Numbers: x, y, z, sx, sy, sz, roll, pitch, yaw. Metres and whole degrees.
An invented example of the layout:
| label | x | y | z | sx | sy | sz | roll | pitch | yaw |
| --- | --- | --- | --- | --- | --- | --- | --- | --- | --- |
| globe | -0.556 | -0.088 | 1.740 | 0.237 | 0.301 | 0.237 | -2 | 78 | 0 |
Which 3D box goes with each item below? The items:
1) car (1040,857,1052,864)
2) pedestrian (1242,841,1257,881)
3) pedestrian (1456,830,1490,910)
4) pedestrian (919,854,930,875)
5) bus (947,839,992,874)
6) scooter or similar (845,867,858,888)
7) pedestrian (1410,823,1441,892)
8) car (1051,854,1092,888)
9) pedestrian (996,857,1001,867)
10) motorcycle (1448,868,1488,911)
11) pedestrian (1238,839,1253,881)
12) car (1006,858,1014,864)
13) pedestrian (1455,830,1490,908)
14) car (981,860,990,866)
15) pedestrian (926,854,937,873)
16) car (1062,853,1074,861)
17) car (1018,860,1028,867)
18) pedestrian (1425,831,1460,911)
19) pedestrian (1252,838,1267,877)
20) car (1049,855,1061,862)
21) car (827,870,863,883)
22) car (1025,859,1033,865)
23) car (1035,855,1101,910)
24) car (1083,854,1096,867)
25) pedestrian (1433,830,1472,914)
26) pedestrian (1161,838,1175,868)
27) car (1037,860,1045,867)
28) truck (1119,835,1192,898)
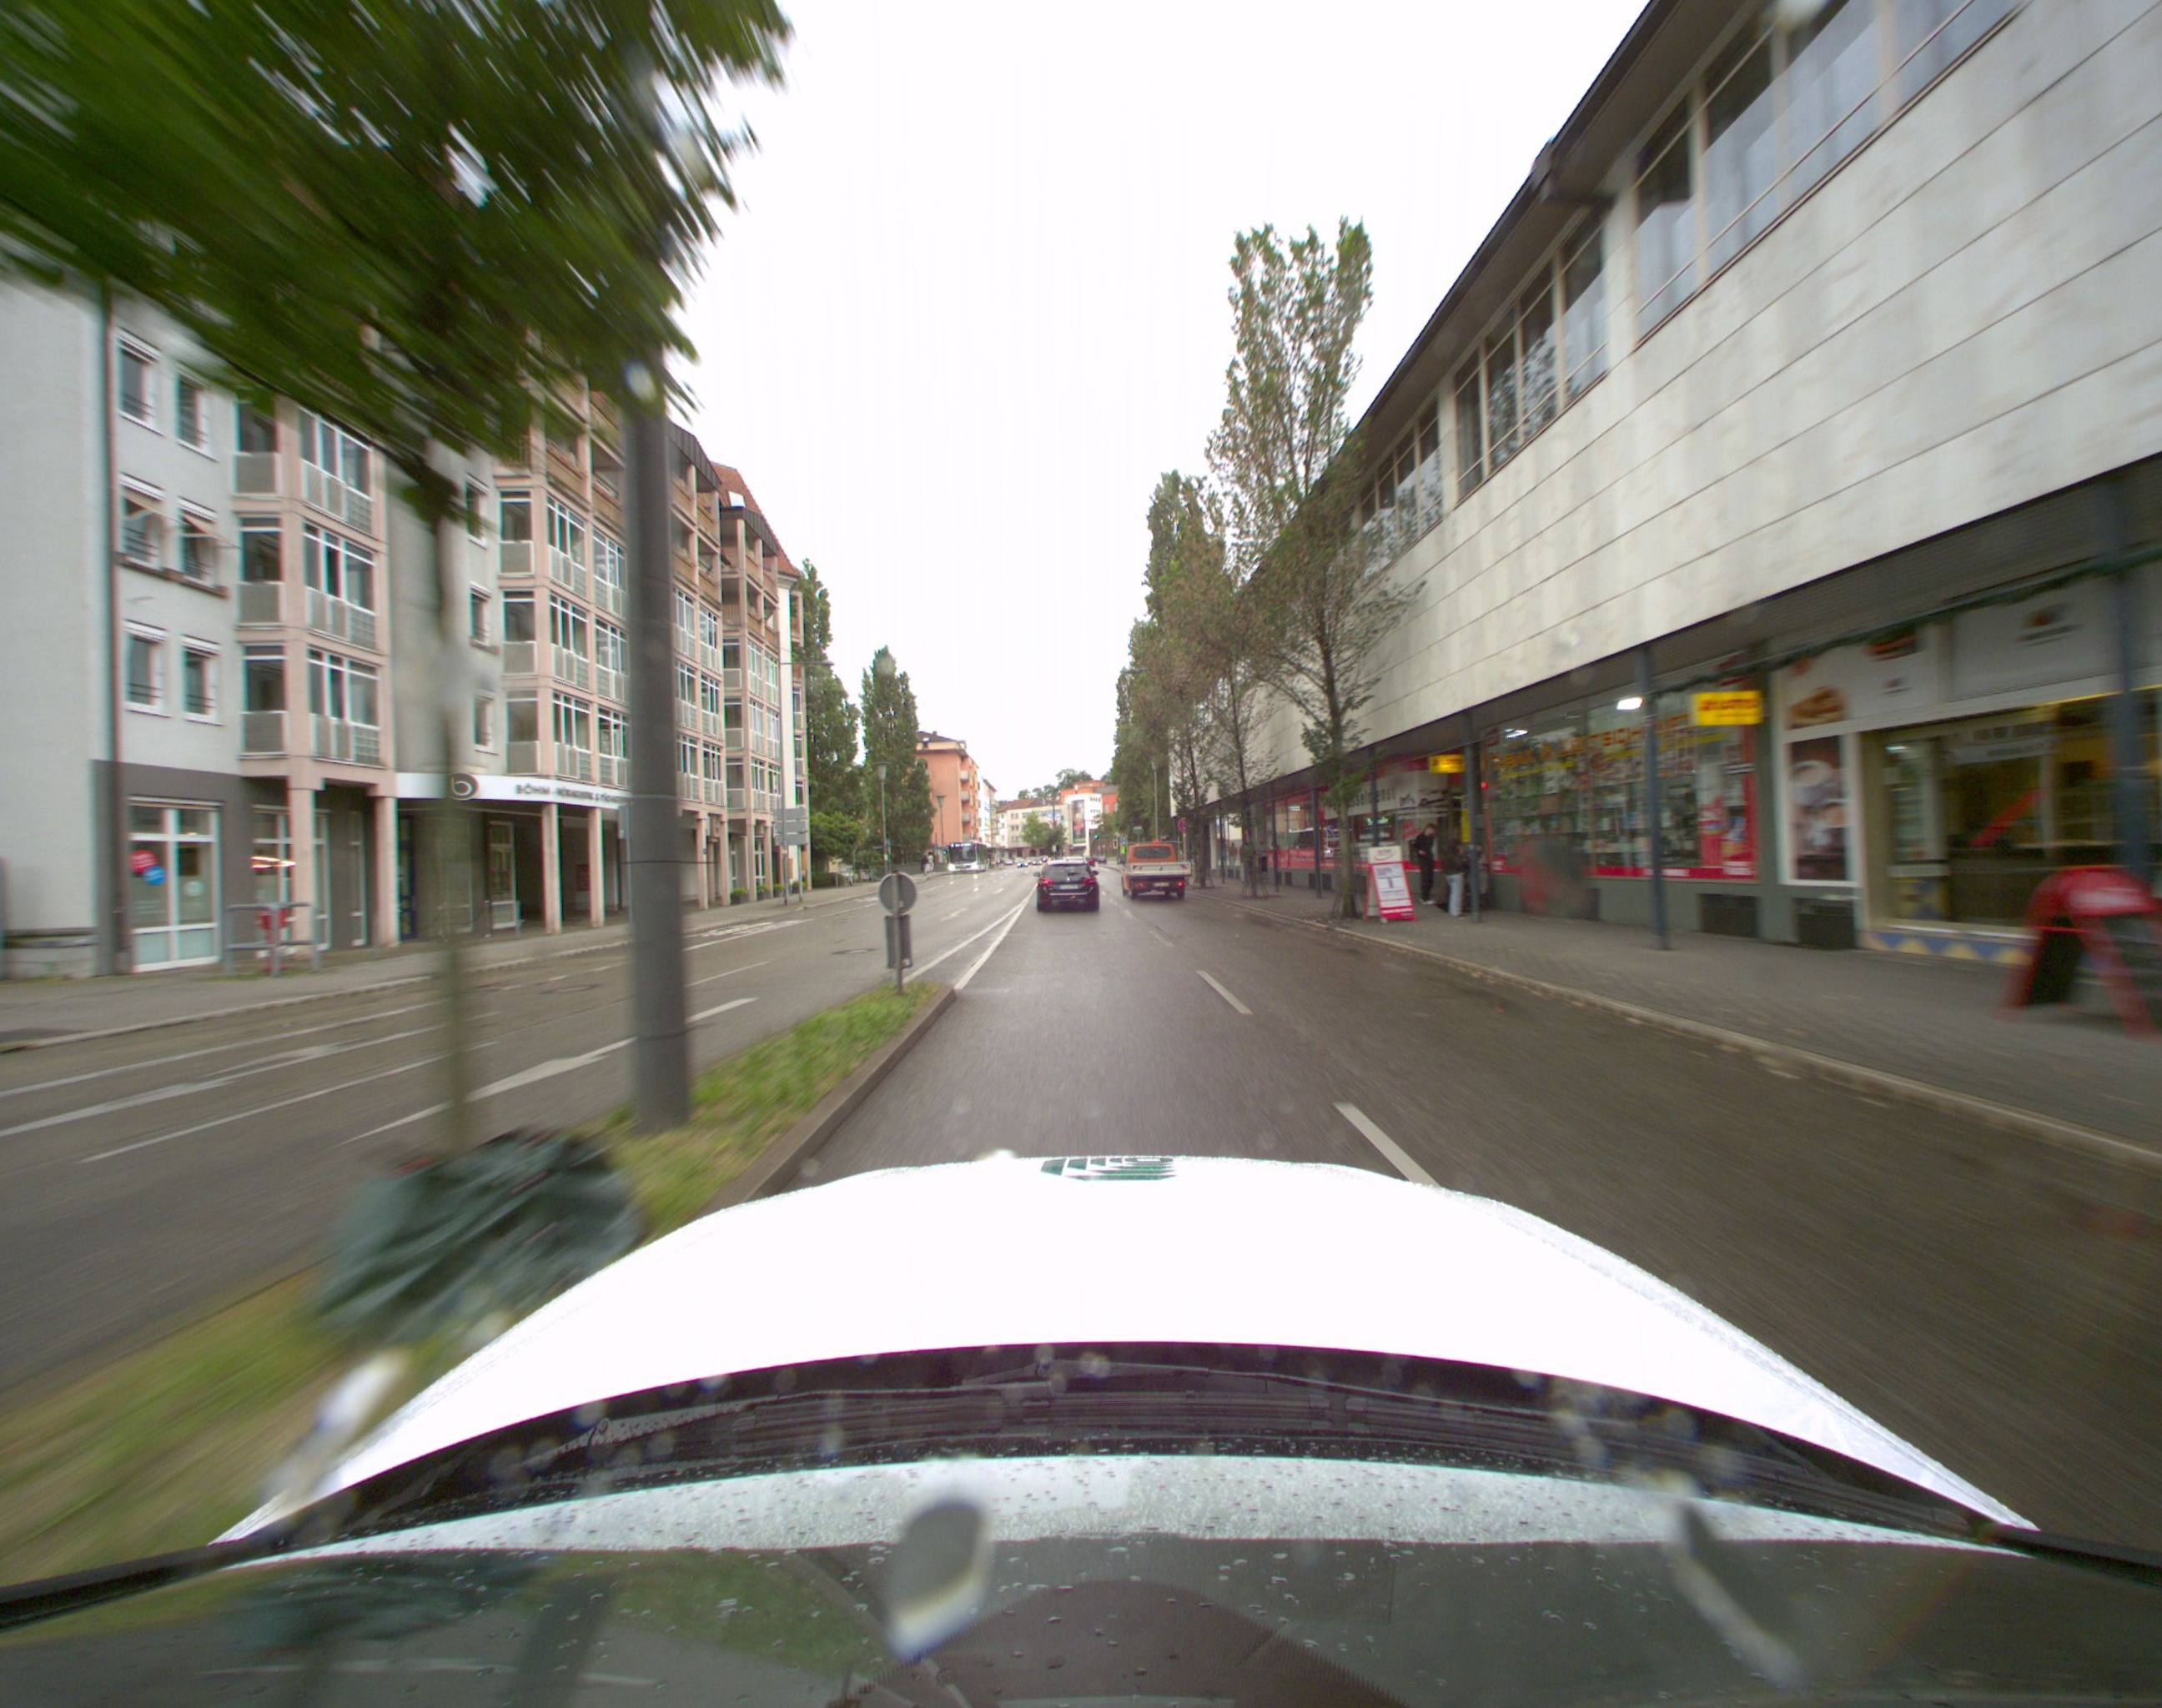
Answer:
| label | x | y | z | sx | sy | sz | roll | pitch | yaw |
| --- | --- | --- | --- | --- | --- | --- | --- | --- | --- |
| car | -8.383 | 1.604 | 195.815 | 1.653 | 1.564 | 3.568 | 2 | -3 | -26 |
| pedestrian | 7.441 | 0.305 | 36.027 | 0.533 | 1.719 | 0.535 | -3 | 0 | 7 |
| pedestrian | 7.907 | 0.322 | 16.433 | 0.386 | 1.566 | 0.430 | -3 | 0 | -4 |
| pedestrian | -13.566 | 0.874 | 70.592 | 0.695 | 1.794 | 0.959 | -1 | -1 | 1 |
| bus | -10.636 | 0.123 | 78.868 | 2.736 | 3.075 | 12.232 | -2 | 1 | -1 |
| scooter or similar | -15.268 | 1.561 | 54.109 | 0.481 | 1.313 | 1.569 | -3 | 2 | -5 |
| pedestrian | 8.028 | 0.079 | 18.964 | 0.425 | 1.566 | 0.513 | -3 | 0 | 44 |
| car | -0.400 | 0.783 | 39.377 | 1.789 | 1.483 | 4.000 | -2 | -1 | 1 |
| pedestrian | -16.545 | 1.649 | 164.150 | 0.731 | 2.014 | 0.650 | 3 | -4 | -35 |
| motorcycle | 7.837 | 0.702 | 16.516 | 0.323 | 0.804 | 0.919 | -3 | 0 | -2 |
| pedestrian | 7.161 | 0.252 | 35.438 | 0.533 | 1.820 | 0.535 | -3 | 0 | 7 |
| car | -16.894 | 1.616 | 193.787 | 1.661 | 1.399 | 3.873 | -3 | 0 | -2 |
| pedestrian | 8.166 | 0.307 | 17.008 | 0.427 | 1.566 | 0.510 | -3 | 0 | 2 |
| car | -21.973 | 2.064 | 187.324 | 1.661 | 1.399 | 3.873 | -3 | 0 | -2 |
| pedestrian | -14.281 | 0.924 | 77.745 | 0.794 | 1.794 | 0.812 | -1 | -1 | 0 |
| car | -2.979 | 0.621 | 188.161 | 1.994 | 1.684 | 3.986 | -2 | 0 | -10 |
| car | -11.162 | 1.840 | 156.229 | 1.787 | 1.325 | 4.403 | -2 | 0 | -2 |
| pedestrian | 7.231 | 0.329 | 16.278 | 0.425 | 1.566 | 0.513 | -3 | 0 | 44 |
| pedestrian | 7.975 | 0.159 | 36.382 | 0.533 | 1.719 | 0.536 | -3 | 0 | 8 |
| car | -6.444 | 1.152 | 199.342 | 1.653 | 1.564 | 3.568 | 2 | -3 | -26 |
| car | -30.502 | 2.931 | 105.228 | 3.975 | 1.387 | 1.898 | -3 | -1 | -1 |
| car | -11.860 | 1.852 | 186.606 | 1.661 | 1.399 | 3.873 | -3 | 0 | -2 |
| car | -0.308 | 0.803 | 24.176 | 1.788 | 1.484 | 4.001 | -1 | -1 | 1 |
| car | 1.127 | 0.881 | 107.303 | 1.640 | 1.564 | 3.597 | 1 | -3 | -1 |
| pedestrian | 7.123 | 0.342 | 15.617 | 0.428 | 1.566 | 0.509 | -3 | 0 | -3 |
| pedestrian | 5.329 | -0.045 | 50.050 | 0.696 | 1.801 | 0.606 | -4 | 0 | -2 |
| car | -8.434 | 1.942 | 171.345 | 1.661 | 1.399 | 3.873 | -3 | 0 | -2 |
| truck | 2.571 | 0.457 | 29.192 | 2.116 | 2.025 | 4.713 | -1 | -1 | -1 |
